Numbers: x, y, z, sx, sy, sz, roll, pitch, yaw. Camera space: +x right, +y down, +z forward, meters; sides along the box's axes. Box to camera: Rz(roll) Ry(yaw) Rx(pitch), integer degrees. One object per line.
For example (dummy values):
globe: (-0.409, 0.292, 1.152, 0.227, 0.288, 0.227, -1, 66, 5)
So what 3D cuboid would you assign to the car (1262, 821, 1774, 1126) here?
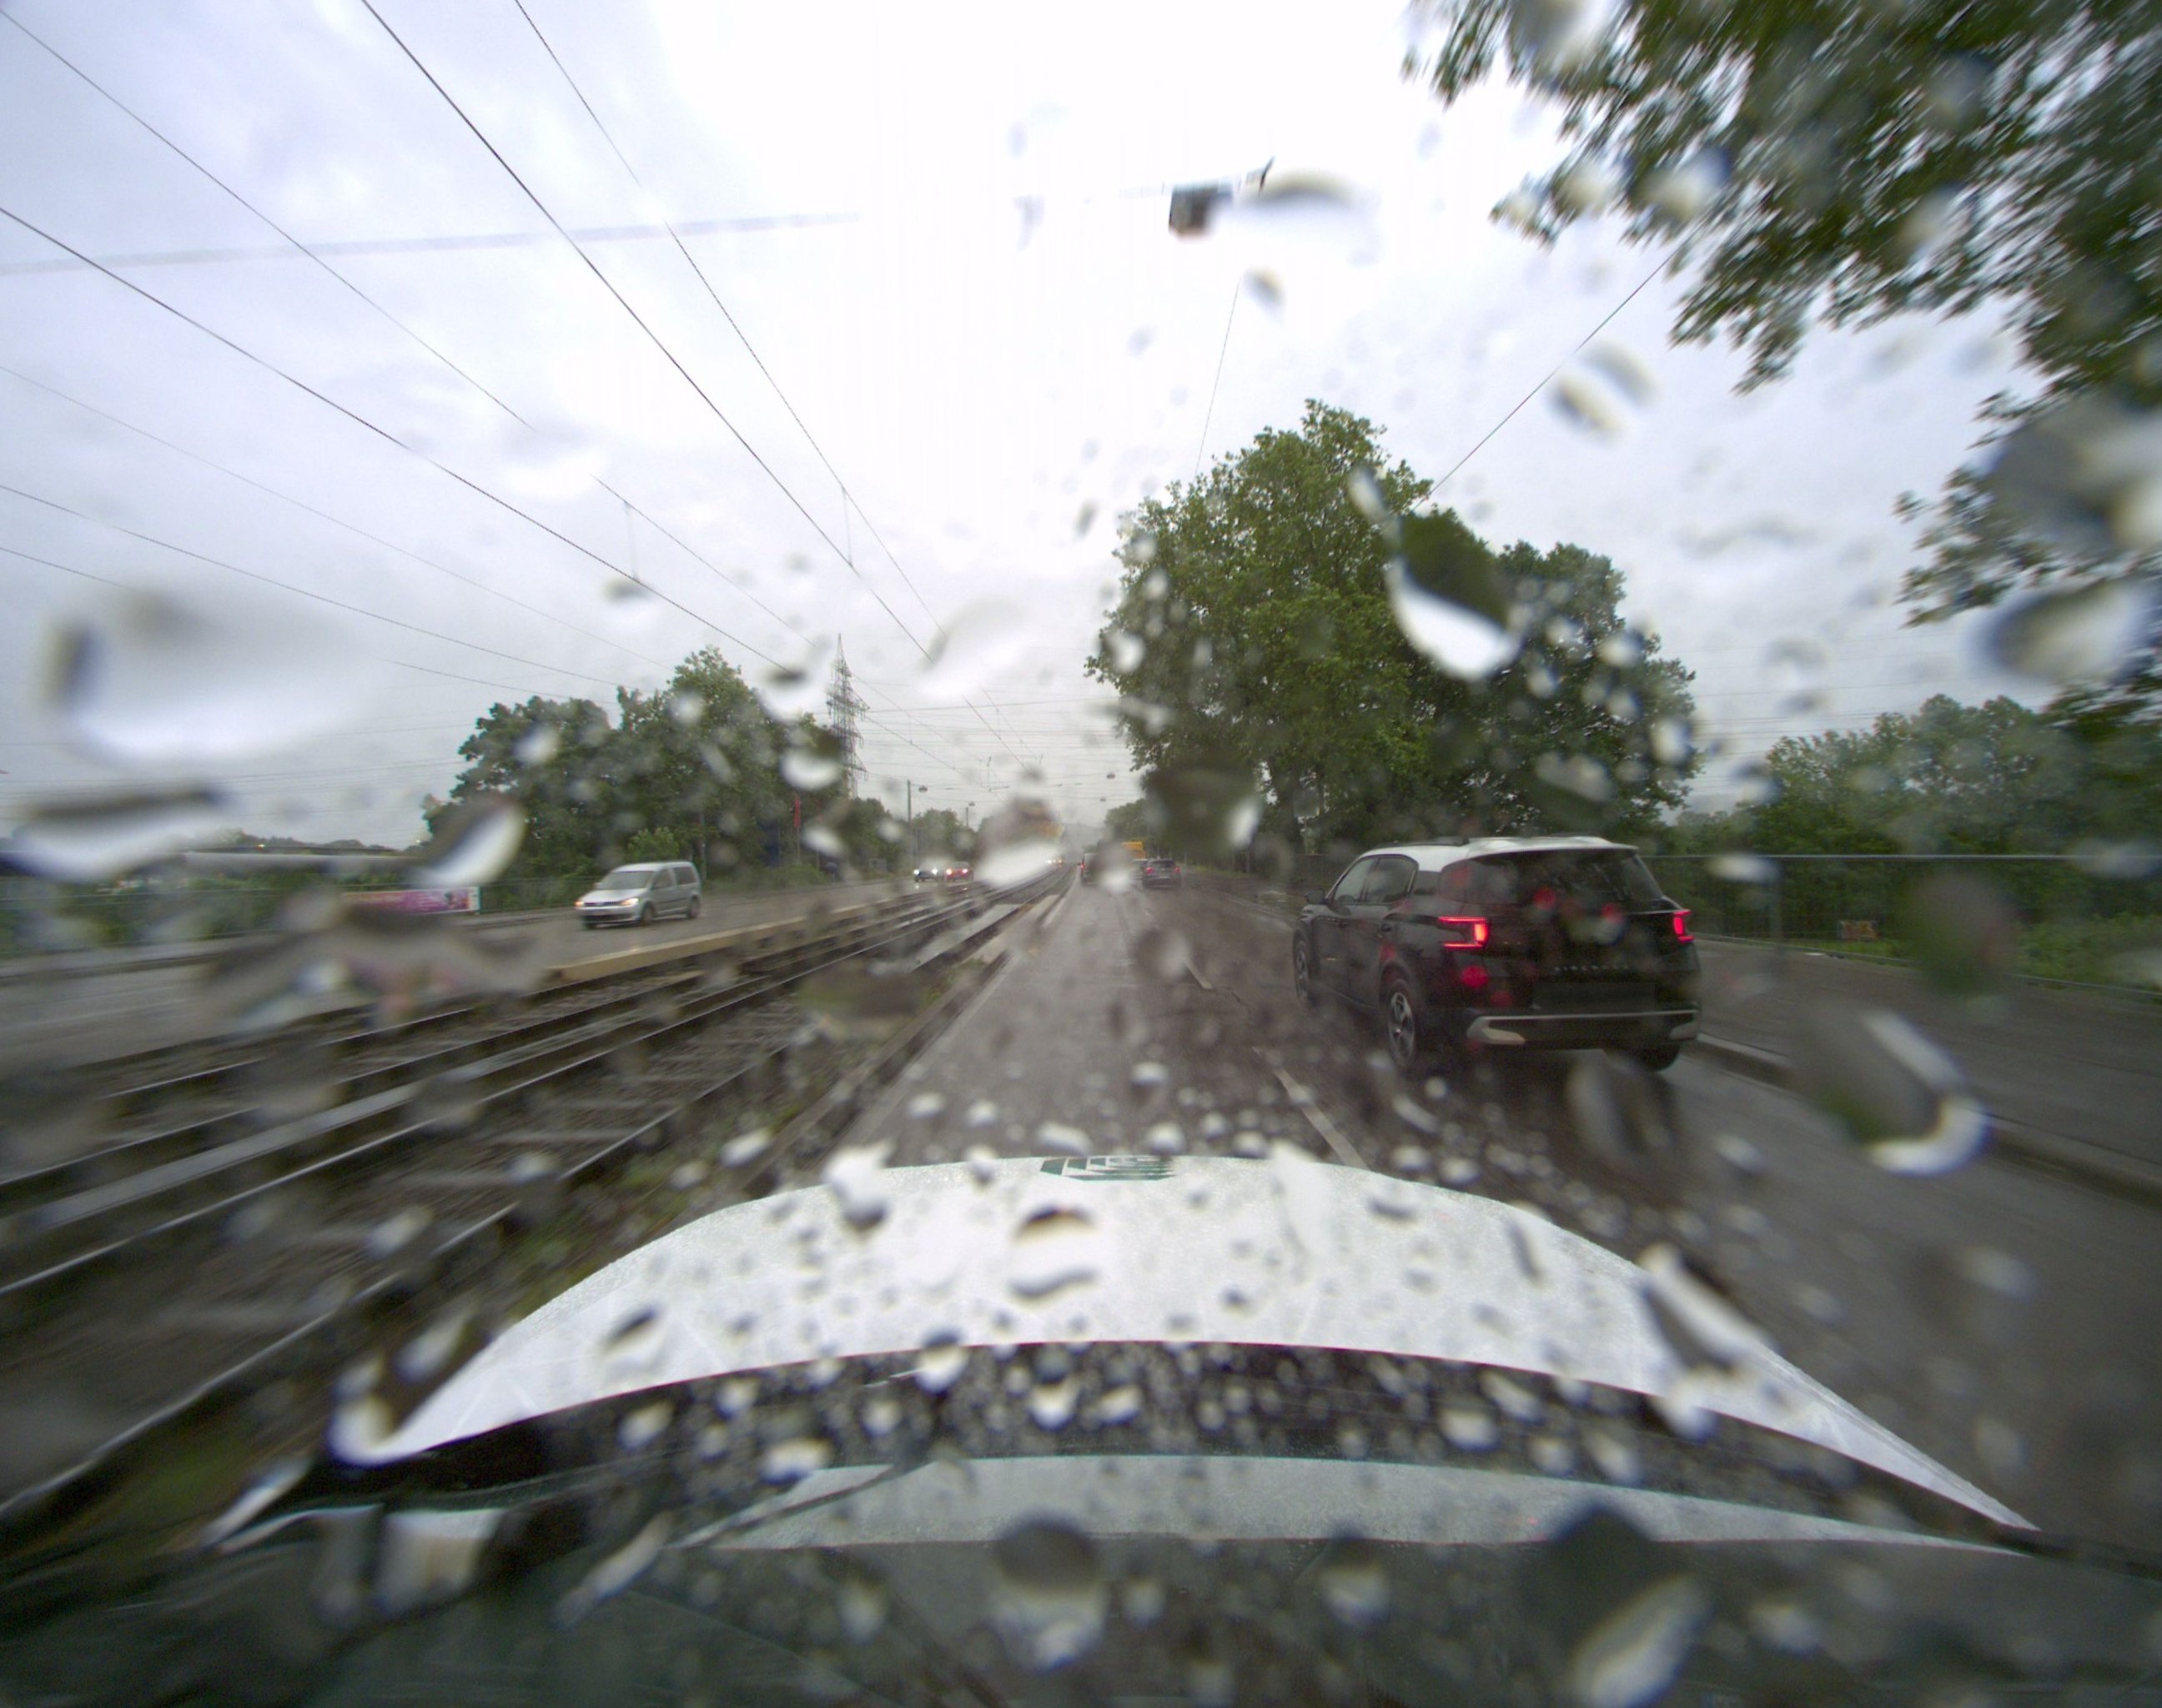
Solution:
car: (3.023, 0.652, 7.010, 1.893, 1.716, 4.725, -1, 1, 0)

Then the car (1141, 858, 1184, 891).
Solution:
car: (3.843, 0.941, 38.929, 1.811, 1.414, 3.780, -1, 1, 2)

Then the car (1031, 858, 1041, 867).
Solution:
car: (-10.906, 2.051, 198.228, 1.985, 1.904, 4.003, -1, 0, 3)

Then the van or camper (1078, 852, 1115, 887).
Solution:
van or camper: (0.827, 0.835, 45.839, 1.988, 1.784, 3.999, 0, 1, -1)

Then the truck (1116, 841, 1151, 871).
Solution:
truck: (5.168, 0.169, 81.279, 3.102, 2.773, 6.331, -1, 0, 1)

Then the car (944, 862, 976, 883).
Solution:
car: (-9.230, 1.374, 62.350, 1.650, 1.486, 4.016, -2, 0, 3)

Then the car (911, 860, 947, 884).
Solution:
car: (-12.473, 1.425, 67.113, 1.985, 1.816, 4.003, -2, 0, 3)

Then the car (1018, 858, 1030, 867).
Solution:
car: (-12.084, 1.844, 172.414, 1.985, 1.904, 4.003, -1, 0, 3)

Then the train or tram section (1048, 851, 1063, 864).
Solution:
train or tram section: (-6.449, 0.858, 206.488, 2.839, 2.894, 14.013, -2, 0, 2)

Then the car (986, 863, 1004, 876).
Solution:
car: (-12.681, 2.291, 120.477, 1.985, 1.904, 4.003, -1, 0, 3)

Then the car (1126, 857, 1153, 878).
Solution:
car: (4.221, 0.960, 59.090, 1.811, 1.414, 3.780, -1, 1, 2)

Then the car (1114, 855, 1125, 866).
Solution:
car: (7.305, 1.243, 153.311, 1.985, 1.904, 4.003, -1, 0, 2)

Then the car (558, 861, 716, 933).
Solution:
car: (-12.822, 1.171, 23.938, 1.986, 1.816, 4.660, -2, 0, 1)
